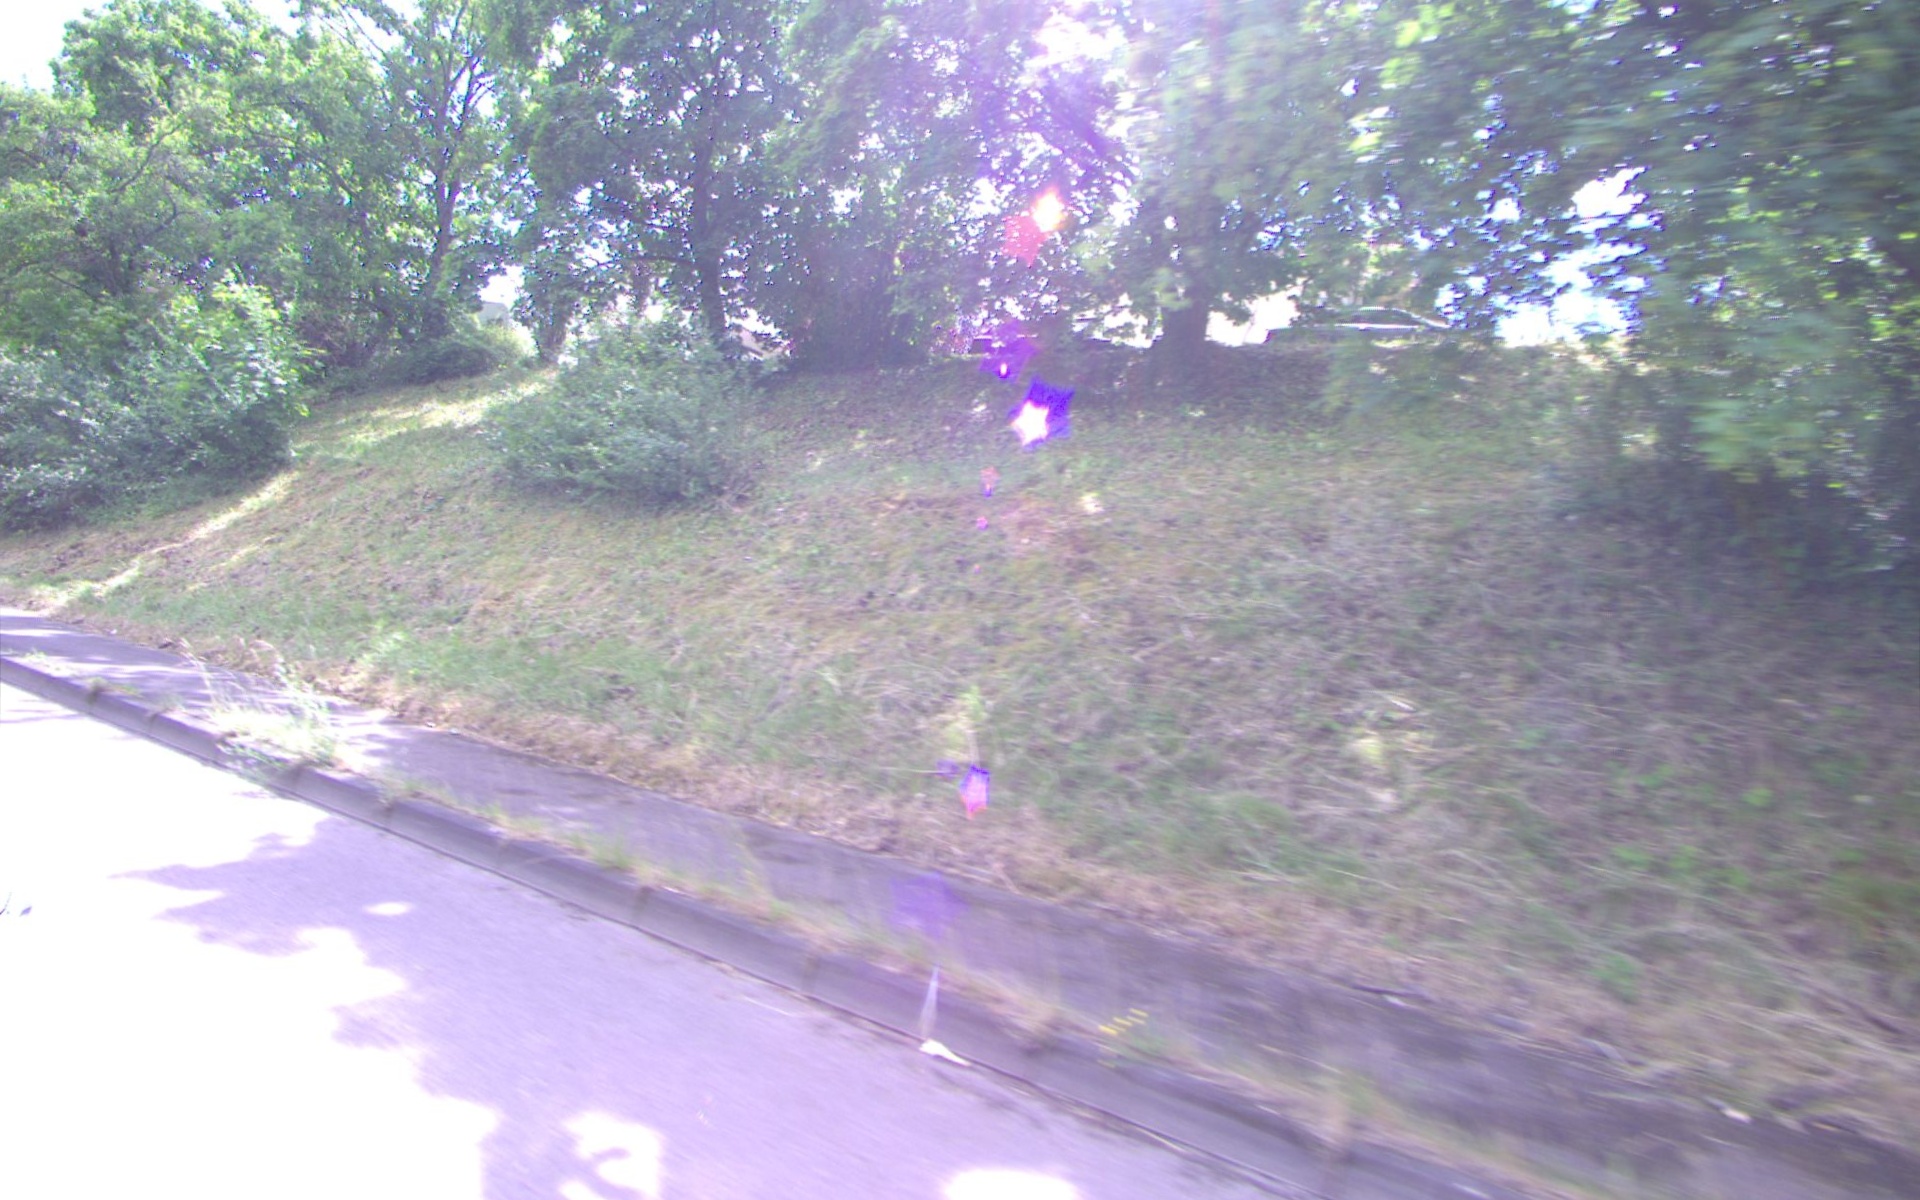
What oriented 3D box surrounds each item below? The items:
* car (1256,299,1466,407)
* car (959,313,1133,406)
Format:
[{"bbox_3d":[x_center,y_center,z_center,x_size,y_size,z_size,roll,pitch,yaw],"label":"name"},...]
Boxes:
[{"bbox_3d":[7.346,-4.456,18.476,3.277,1.459,1.453,7,-2,30],"label":"car"},{"bbox_3d":[1.822,-5.093,21.560,3.278,1.459,1.452,7,-2,32],"label":"car"}]
